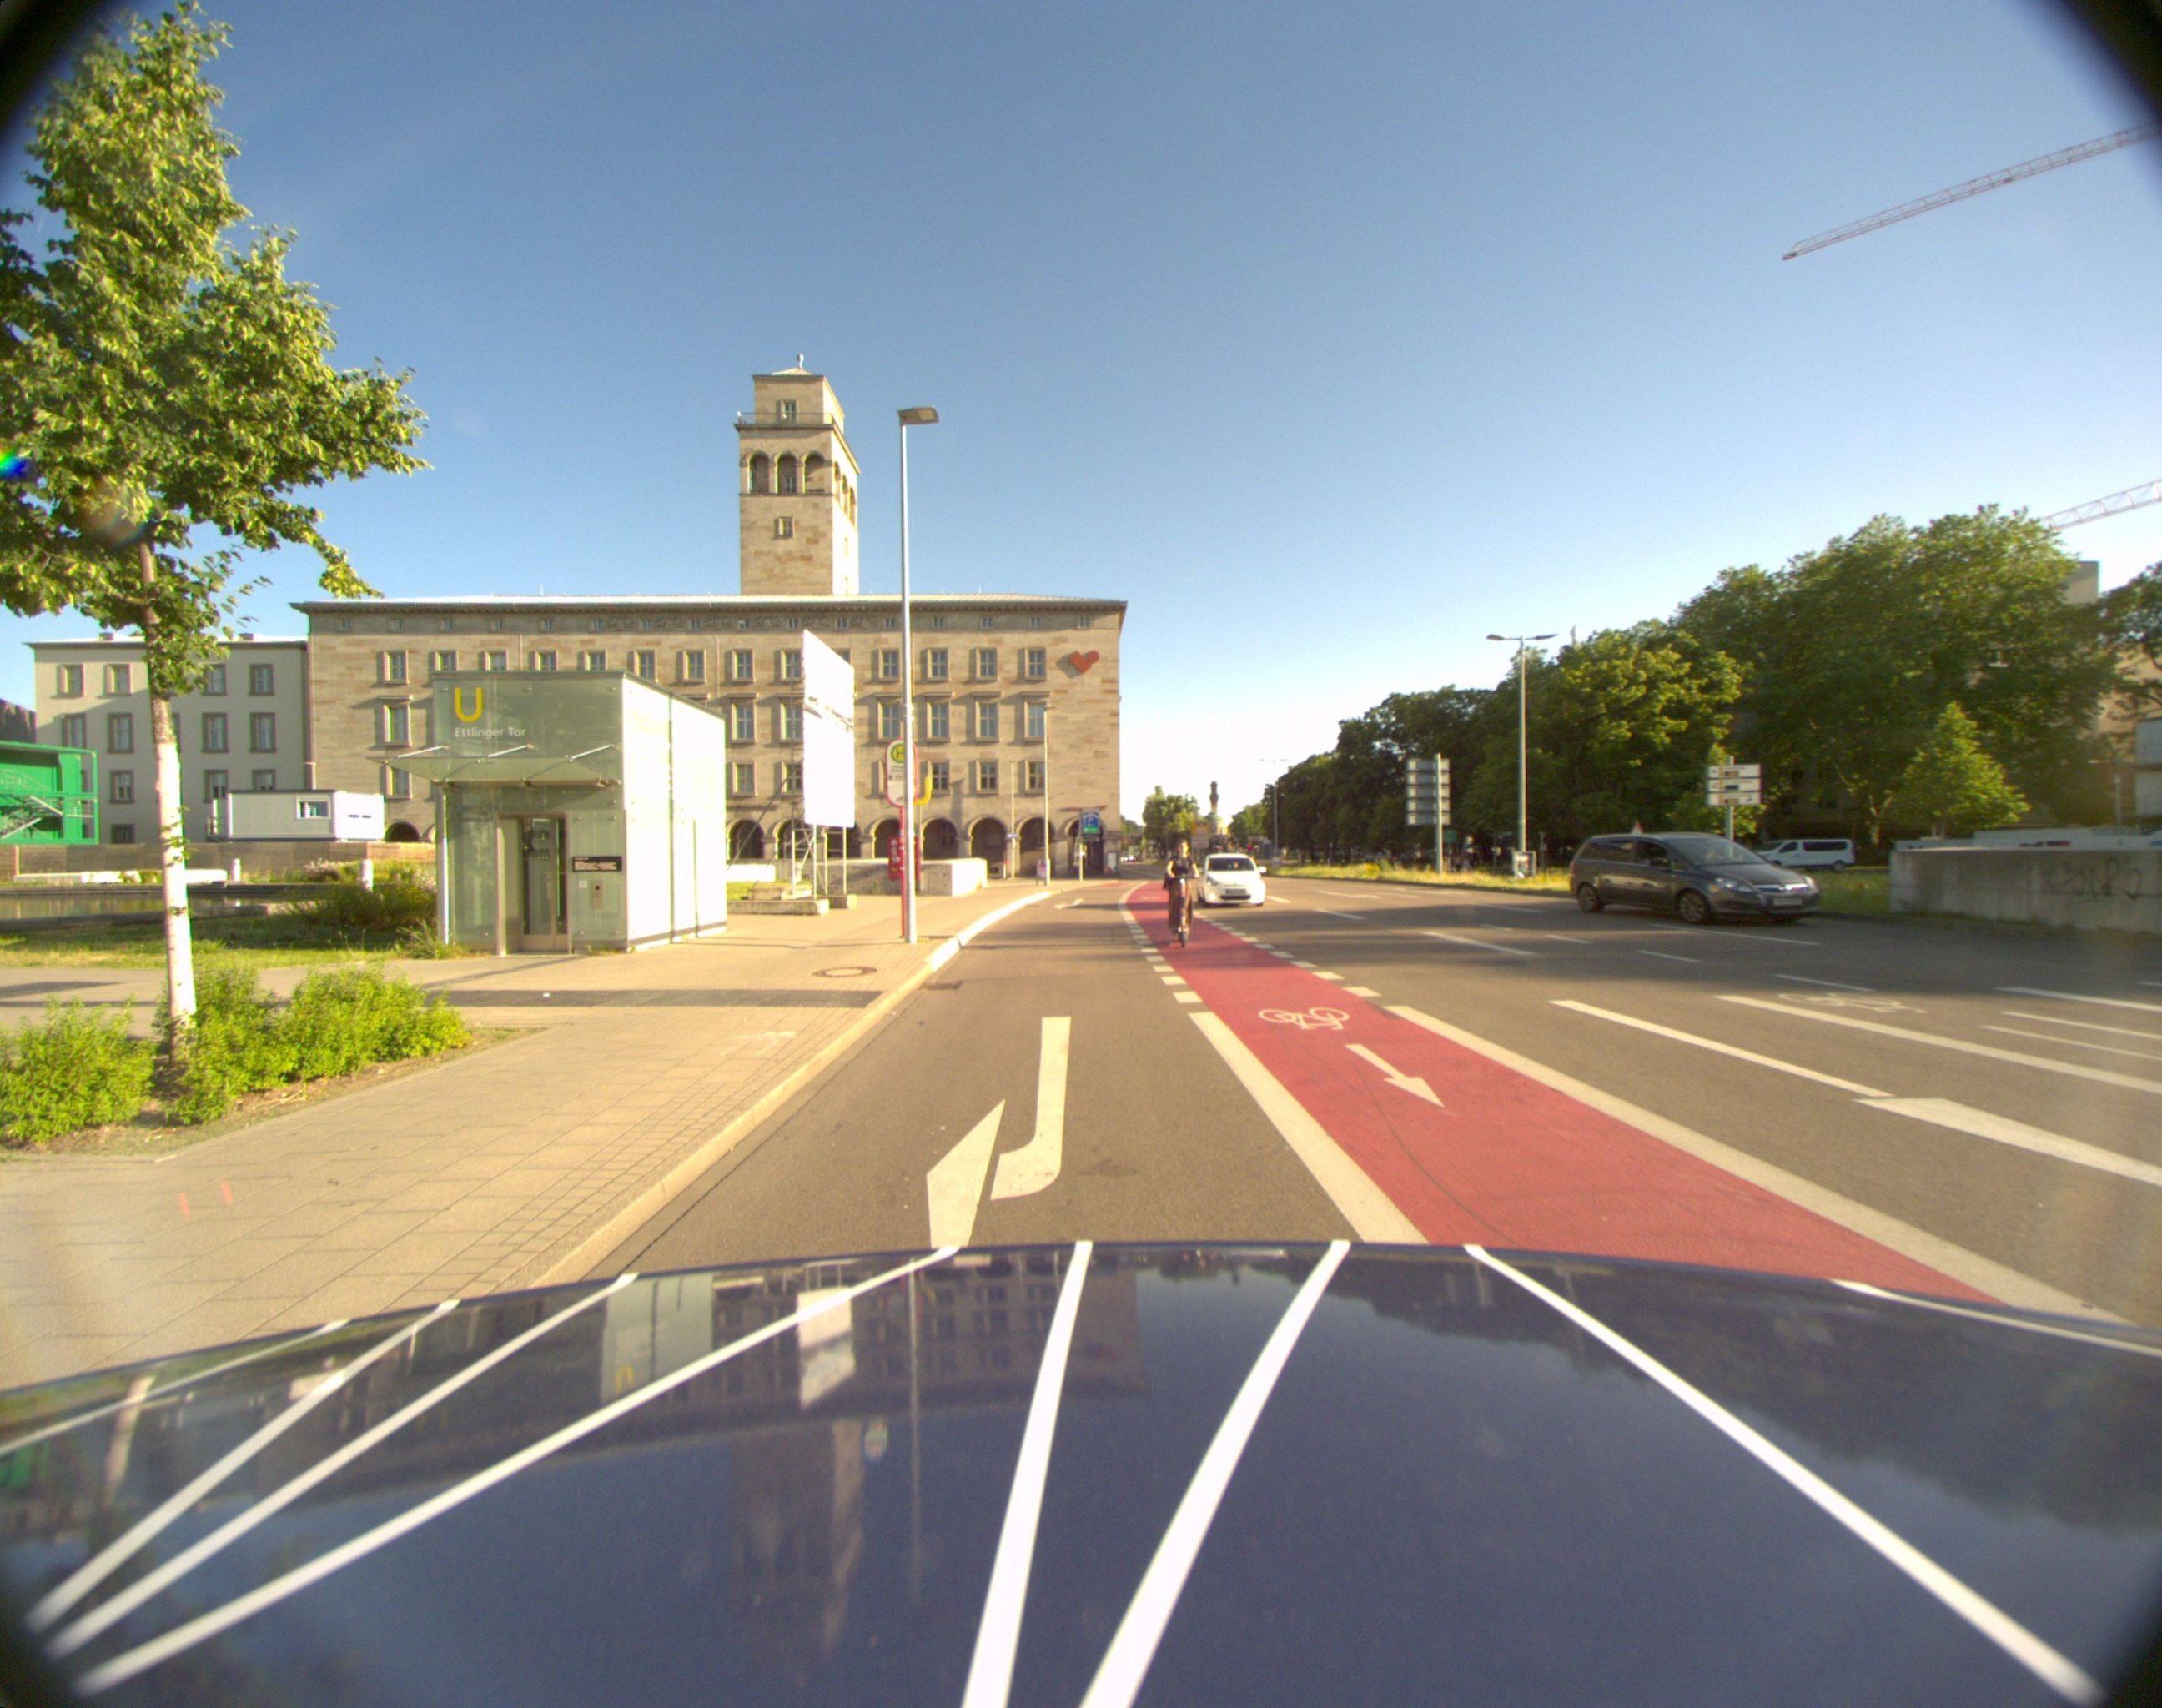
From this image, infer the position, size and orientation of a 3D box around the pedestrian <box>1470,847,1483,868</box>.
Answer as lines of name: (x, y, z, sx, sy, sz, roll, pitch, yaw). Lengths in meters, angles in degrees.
pedestrian: (33.608, 0.296, 64.508, 0.707, 1.715, 0.762, -1, 1, 1)

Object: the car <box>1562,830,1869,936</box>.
car: (11.391, 0.449, 14.184, 1.998, 1.598, 4.481, -2, 0, 1)

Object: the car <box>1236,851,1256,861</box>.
car: (25.897, 0.322, 119.444, 1.999, 1.499, 3.998, -1, 0, -4)

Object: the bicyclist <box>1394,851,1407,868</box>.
bicyclist: (24.608, 0.430, 58.535, 0.639, 1.275, 0.885, -1, 1, -4)

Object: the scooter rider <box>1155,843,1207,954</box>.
scooter rider: (1.659, 0.716, 12.658, 0.730, 1.764, 0.811, -1, 1, 1)

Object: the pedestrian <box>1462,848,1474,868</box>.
pedestrian: (32.874, 0.324, 64.542, 0.665, 1.715, 0.762, -1, 1, 1)

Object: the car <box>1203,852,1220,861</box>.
car: (20.403, 0.384, 119.192, 1.873, 1.390, 3.999, -1, 0, -2)

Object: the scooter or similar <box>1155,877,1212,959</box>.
scooter or similar: (1.678, 1.019, 12.650, 0.730, 1.195, 1.664, -1, 0, 1)

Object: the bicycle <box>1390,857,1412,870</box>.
bicycle: (24.610, 0.724, 58.498, 0.639, 1.016, 2.242, -1, 0, -4)

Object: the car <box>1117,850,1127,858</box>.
car: (8.475, 0.022, 158.112, 1.998, 1.652, 4.000, -1, 0, 1)

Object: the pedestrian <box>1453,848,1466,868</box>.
pedestrian: (32.128, 0.354, 64.458, 0.707, 1.715, 0.762, -1, 1, 1)

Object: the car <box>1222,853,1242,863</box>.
car: (21.419, 0.579, 107.824, 1.872, 1.390, 3.999, -1, 0, -1)

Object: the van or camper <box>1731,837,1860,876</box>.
van or camper: (42.300, 0.132, 45.078, 5.649, 2.002, 1.948, -2, 1, 2)

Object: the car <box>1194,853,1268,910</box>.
car: (4.283, 0.738, 22.184, 1.678, 1.440, 3.890, -2, 0, 5)
